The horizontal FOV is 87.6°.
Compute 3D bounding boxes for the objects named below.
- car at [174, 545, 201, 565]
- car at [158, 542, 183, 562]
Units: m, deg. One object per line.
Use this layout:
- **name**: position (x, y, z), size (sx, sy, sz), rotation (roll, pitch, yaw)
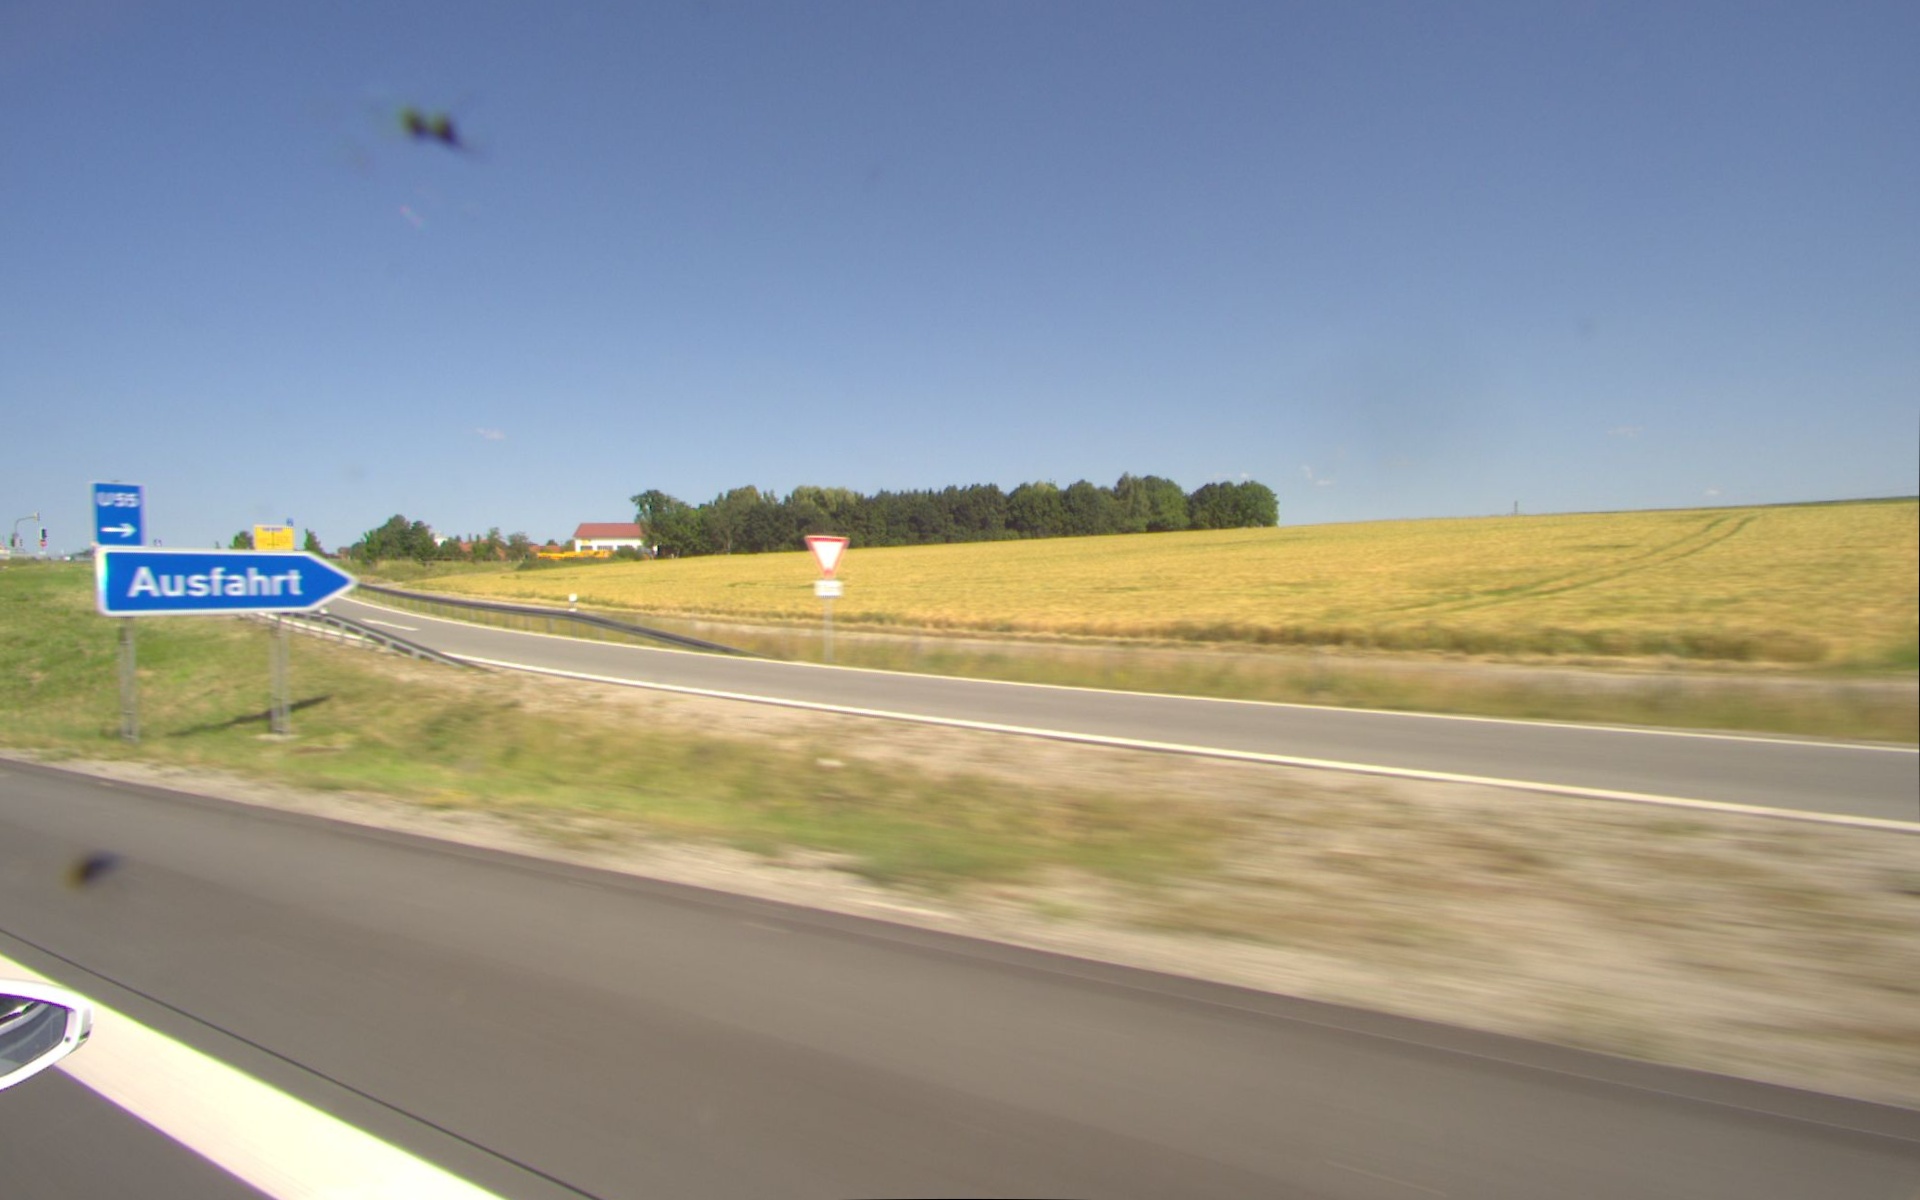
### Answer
- **car**: position (-85.440, -4.938, 110.707), size (1.979, 2.041, 3.963), rotation (-2, 1, -42)
- **car**: position (-91.395, -5.509, 115.957), size (1.979, 2.040, 3.963), rotation (-1, 0, -42)
